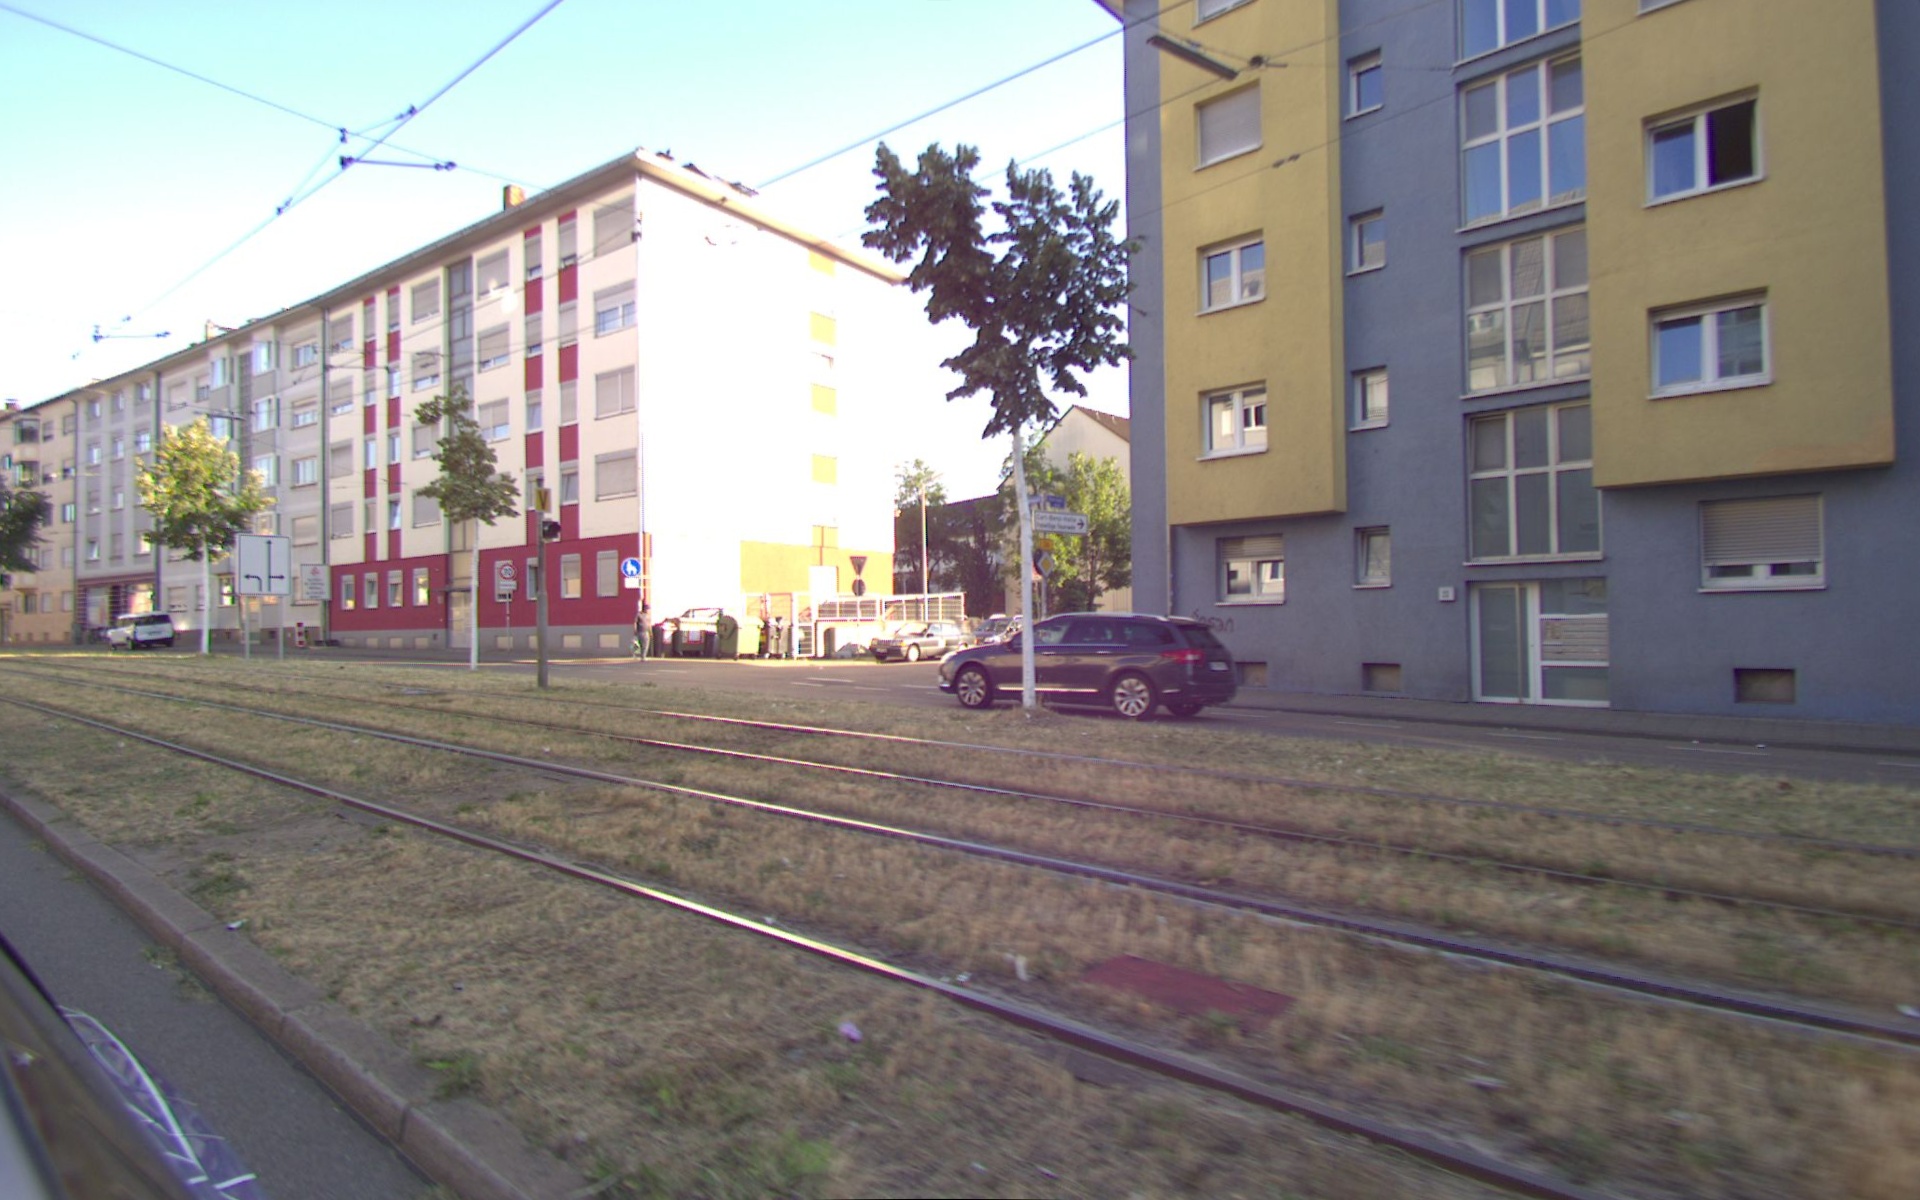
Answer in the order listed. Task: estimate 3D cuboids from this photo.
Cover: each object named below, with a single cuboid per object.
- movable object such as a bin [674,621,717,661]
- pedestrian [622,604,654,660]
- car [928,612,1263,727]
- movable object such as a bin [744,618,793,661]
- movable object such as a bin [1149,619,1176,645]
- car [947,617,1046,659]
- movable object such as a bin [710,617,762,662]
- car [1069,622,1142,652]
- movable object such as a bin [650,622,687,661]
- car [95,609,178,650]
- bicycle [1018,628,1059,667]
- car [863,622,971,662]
[{"bbox_3d":[-8.797,1.343,33.674,0.804,1.296,1.148,-1,-2,36],"label":"movable object such as a bin"},{"bbox_3d":[-9.953,0.979,31.296,0.790,1.702,0.608,-2,-2,35],"label":"pedestrian"},{"bbox_3d":[1.915,0.967,15.253,4.790,1.480,1.776,-1,-4,39],"label":"car"},{"bbox_3d":[-6.444,1.324,34.111,1.106,1.426,1.206,-1,-2,36],"label":"movable object such as a bin"},{"bbox_3d":[11.483,1.795,57.336,0.946,1.466,1.369,-2,-2,40],"label":"movable object such as a bin"},{"bbox_3d":[1.472,1.446,39.379,1.897,1.519,3.947,-1,-2,39],"label":"car"},{"bbox_3d":[-7.288,1.271,32.953,1.136,1.426,1.206,-1,-2,36],"label":"movable object such as a bin"},{"bbox_3d":[6.639,1.667,46.069,1.701,1.314,3.515,-2,-2,40],"label":"car"},{"bbox_3d":[-9.446,1.333,32.791,0.804,1.235,0.858,-1,-2,36],"label":"movable object such as a bin"},{"bbox_3d":[-41.848,1.489,51.390,4.408,1.842,1.853,-2,4,33],"label":"car"},{"bbox_3d":[2.303,1.353,29.408,0.600,1.084,1.946,-1,-2,23],"label":"bicycle"},{"bbox_3d":[-1.452,1.436,35.157,1.699,1.304,3.826,-2,-2,37],"label":"car"}]
